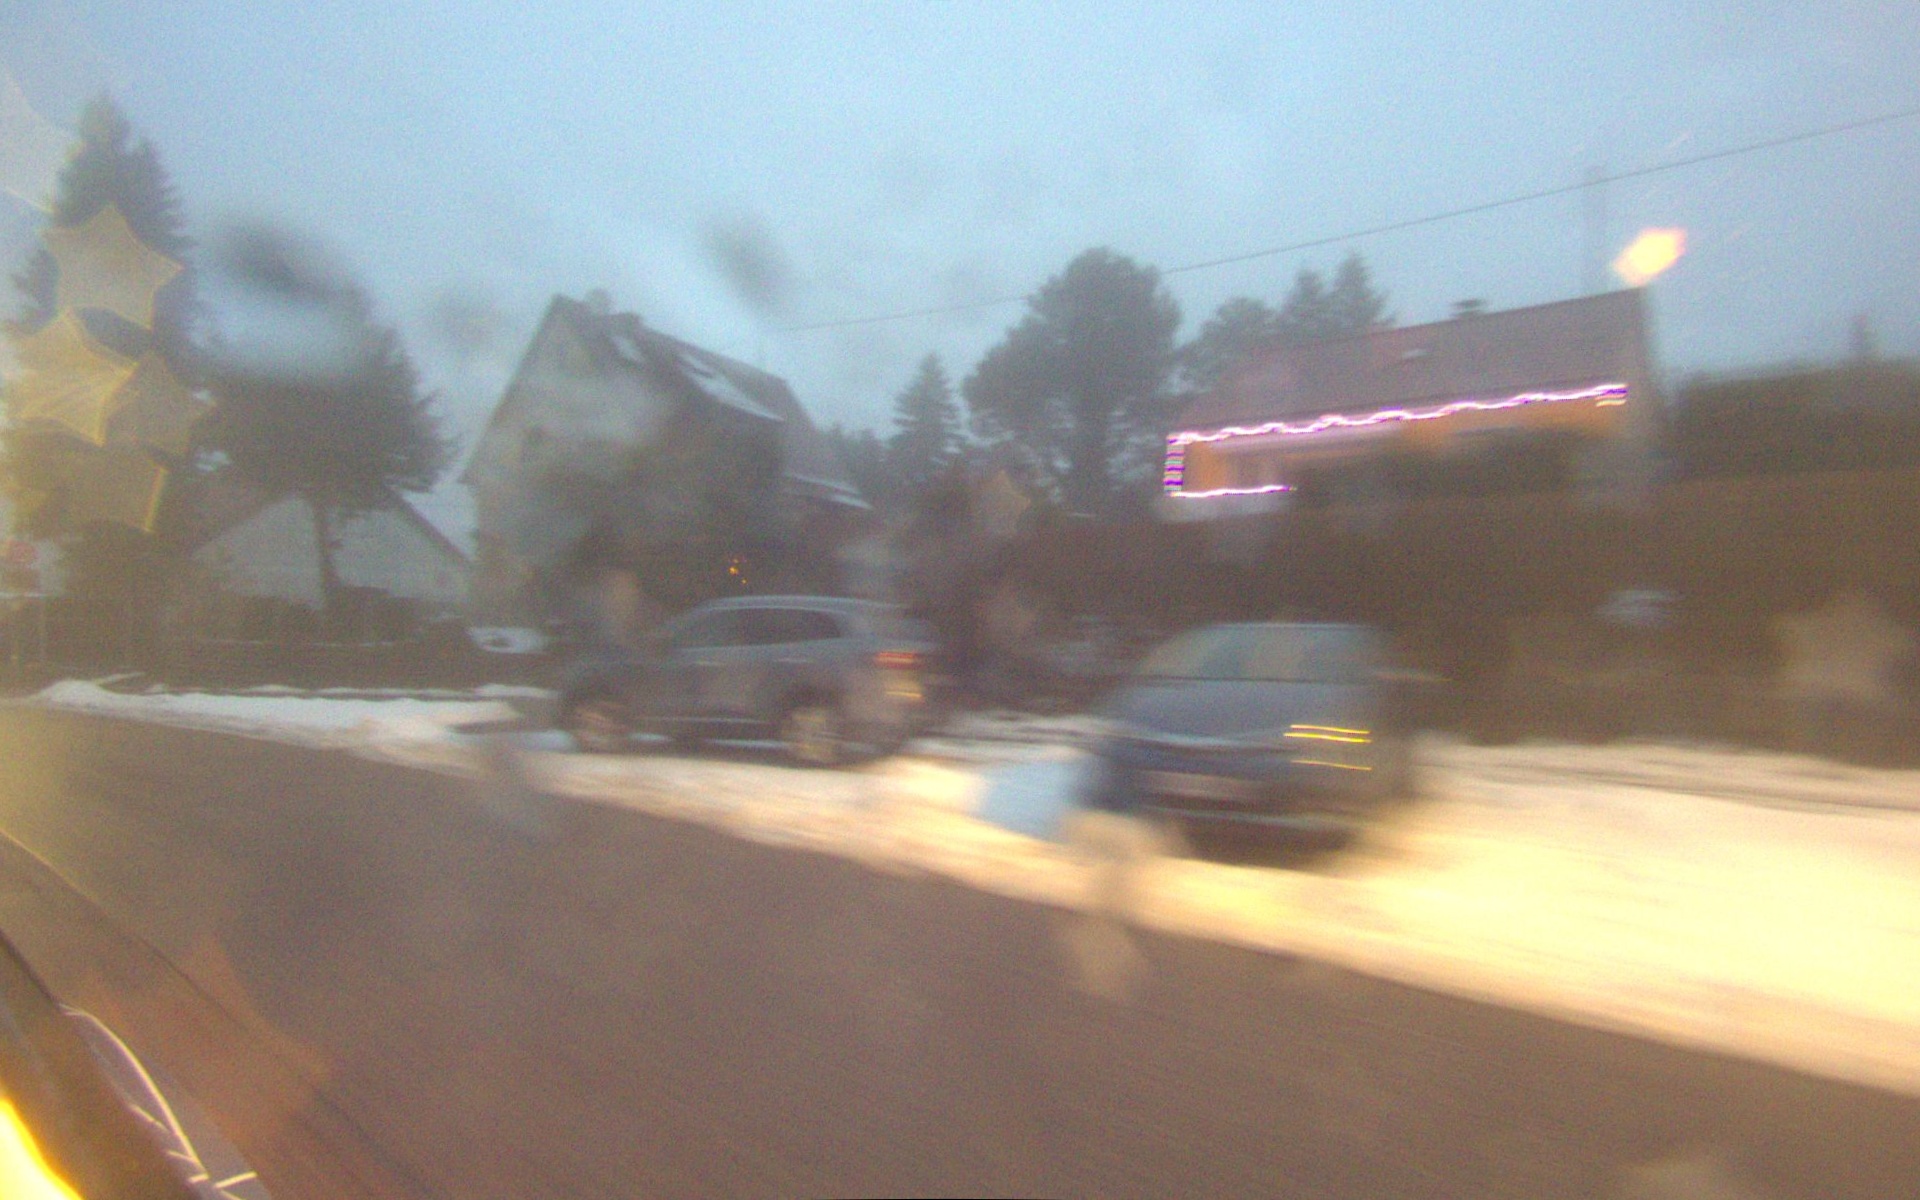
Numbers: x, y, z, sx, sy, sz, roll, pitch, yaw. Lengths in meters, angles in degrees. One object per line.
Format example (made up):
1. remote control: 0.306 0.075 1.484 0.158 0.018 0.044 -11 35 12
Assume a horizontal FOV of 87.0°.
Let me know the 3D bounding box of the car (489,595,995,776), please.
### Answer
1. car: -2.299 0.812 10.710 4.963 1.578 1.985 0 -4 22

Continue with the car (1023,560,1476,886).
1. car: 2.421 0.699 7.403 2.103 1.578 4.494 -1 -3 31
